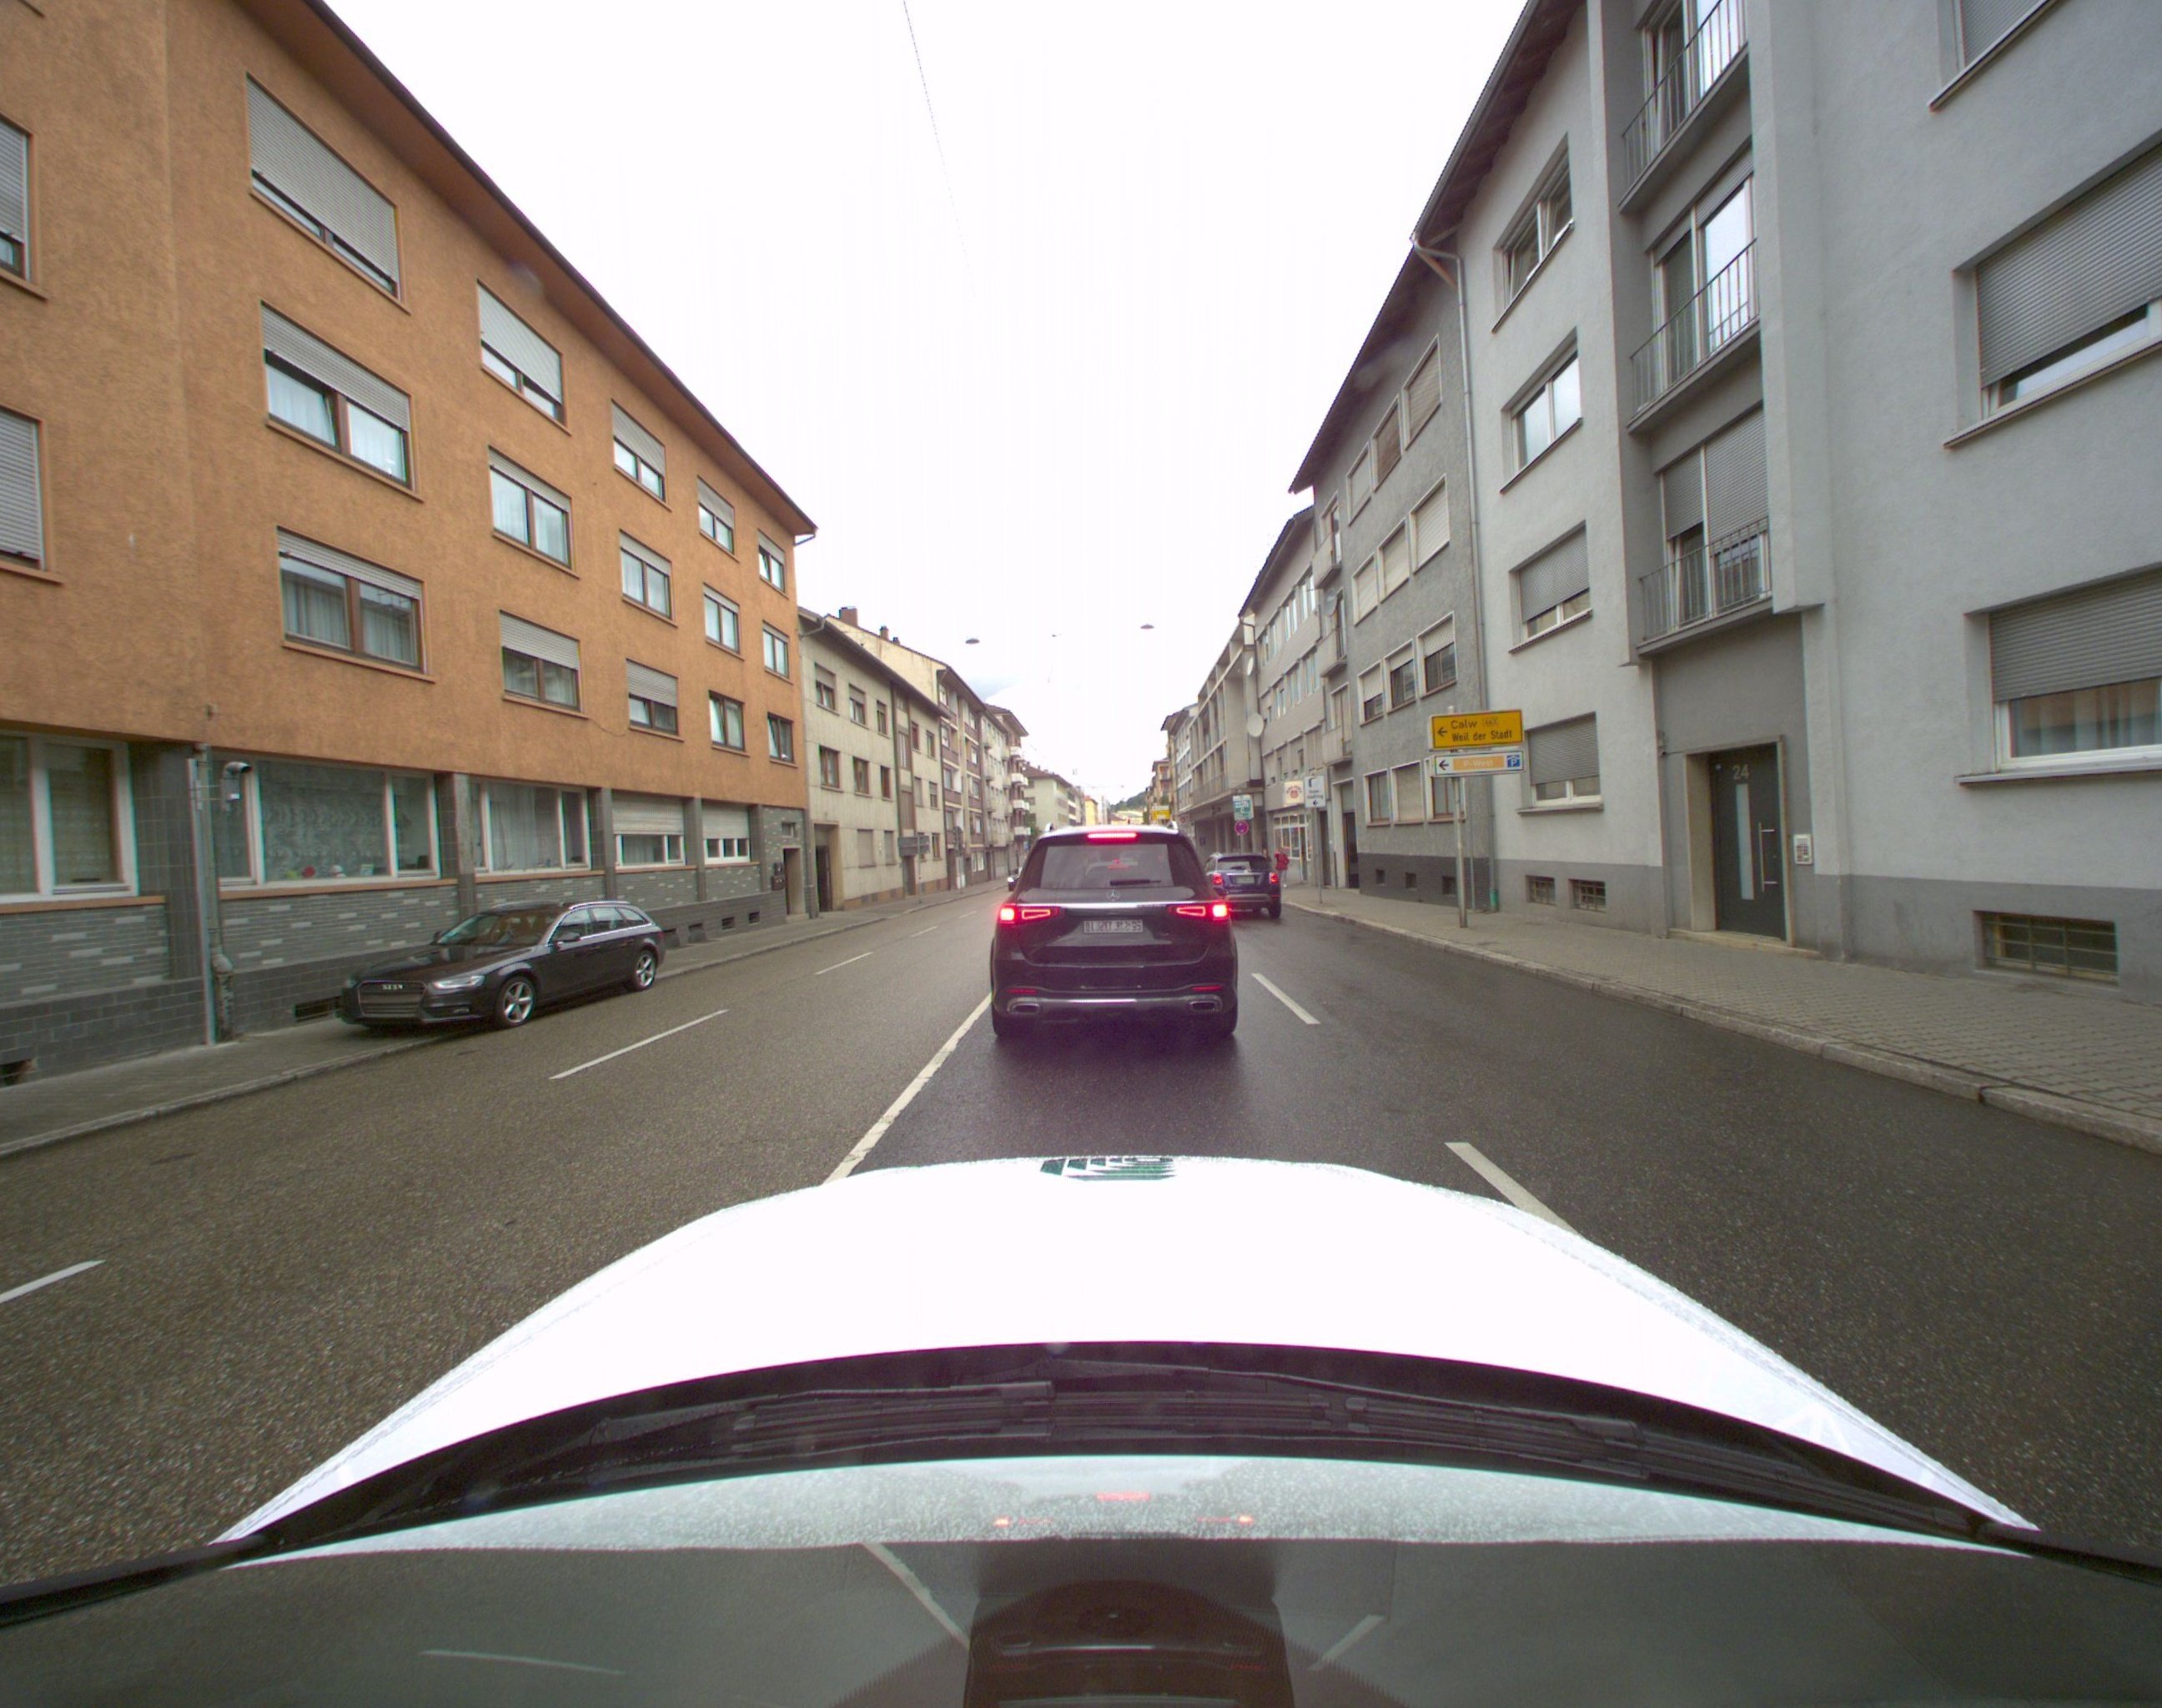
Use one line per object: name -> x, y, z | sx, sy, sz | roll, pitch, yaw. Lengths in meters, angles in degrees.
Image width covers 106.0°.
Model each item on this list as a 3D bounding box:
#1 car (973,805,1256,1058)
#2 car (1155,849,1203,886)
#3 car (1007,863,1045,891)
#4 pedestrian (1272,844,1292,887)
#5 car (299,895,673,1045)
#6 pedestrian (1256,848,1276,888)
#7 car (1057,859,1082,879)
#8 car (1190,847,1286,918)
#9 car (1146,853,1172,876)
car -> 0.282, 0.559, 7.836 | 2.018, 1.806, 4.001 | 0, 0, 1
car -> 5.010, 0.672, 42.244 | 1.934, 1.775, 4.746 | -1, 0, 0
car -> -3.224, 1.336, 48.293 | 1.761, 1.346, 3.889 | -6, 0, 1
pedestrian -> 7.785, 0.441, 31.540 | 0.557, 1.578, 0.526 | -5, 0, 4
car -> -7.741, 1.405, 11.310 | 1.789, 1.438, 4.528 | 0, 0, 1
pedestrian -> 7.178, 0.553, 31.556 | 0.505, 1.500, 0.562 | -5, 0, -1
car -> -0.871, 1.143, 64.302 | 1.718, 1.390, 4.341 | -4, 0, 2
car -> 3.907, 0.664, 20.904 | 1.760, 1.580, 4.002 | -2, 0, 2
car -> 5.773, 0.766, 60.945 | 1.800, 1.606, 4.216 | -1, 0, 4
